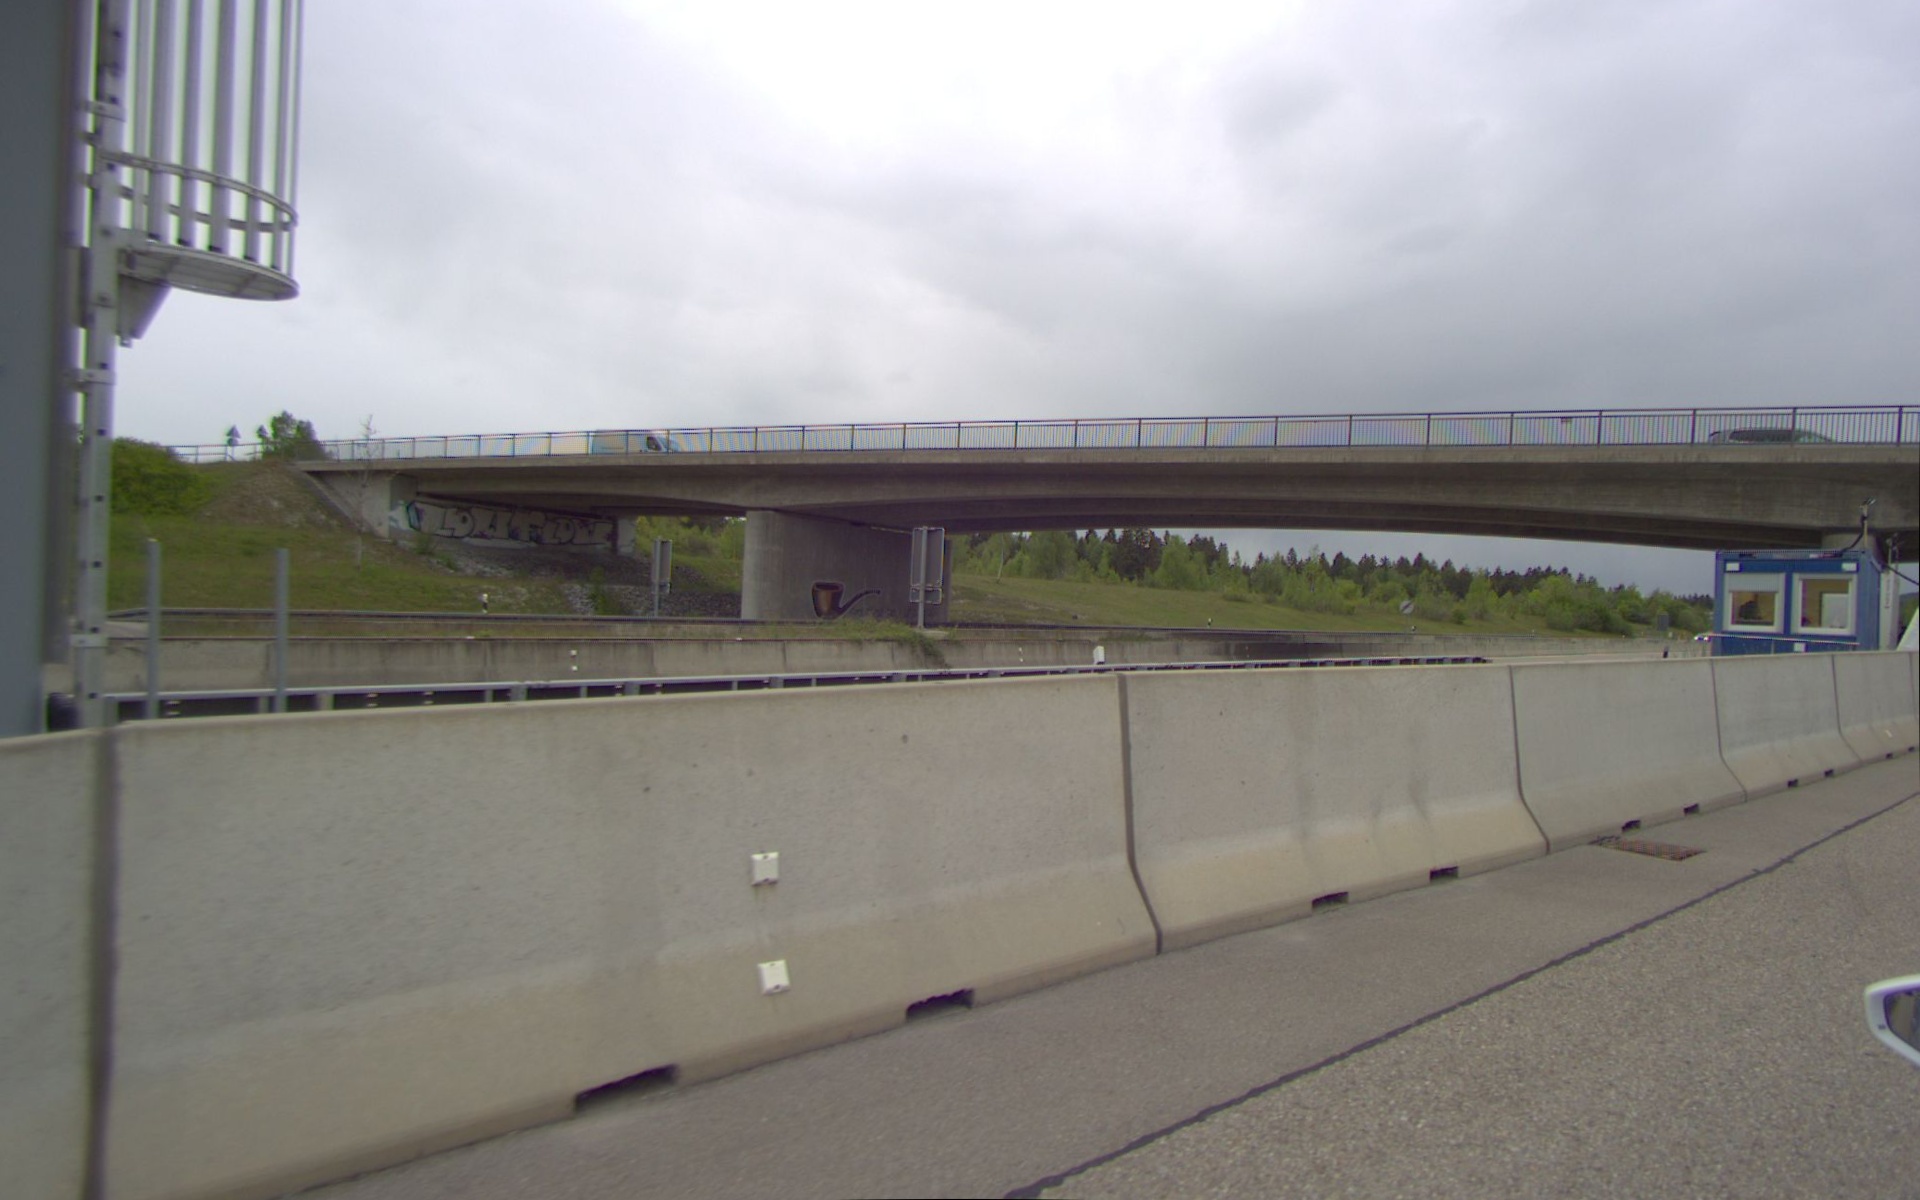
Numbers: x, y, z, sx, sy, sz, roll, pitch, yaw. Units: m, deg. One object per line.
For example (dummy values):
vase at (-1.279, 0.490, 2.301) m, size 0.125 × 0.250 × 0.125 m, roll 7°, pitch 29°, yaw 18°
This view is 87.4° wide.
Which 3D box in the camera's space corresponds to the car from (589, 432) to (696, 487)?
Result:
car at (-17.272, -7.595, 54.654) m, size 5.643 × 2.281 × 1.999 m, roll -1°, pitch -2°, yaw 24°
